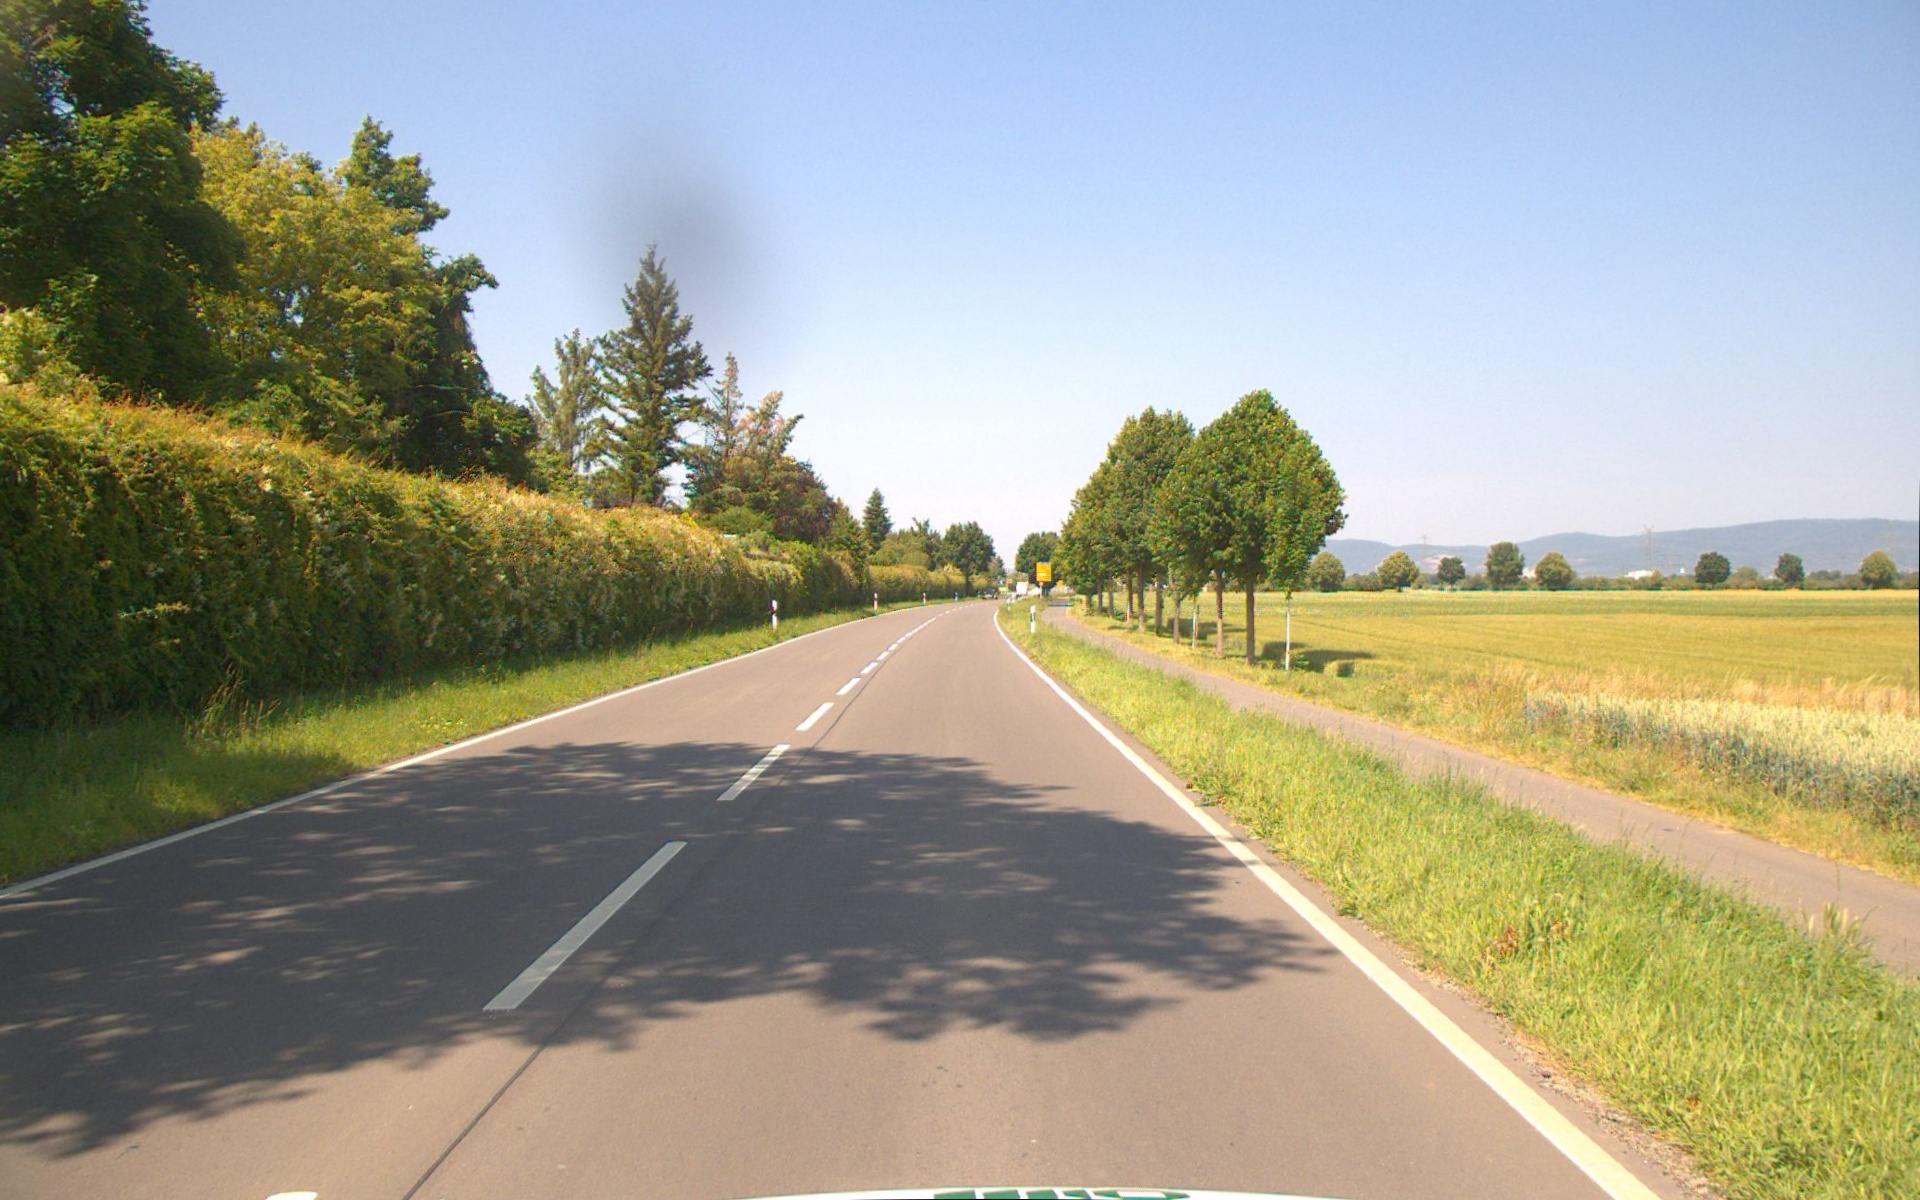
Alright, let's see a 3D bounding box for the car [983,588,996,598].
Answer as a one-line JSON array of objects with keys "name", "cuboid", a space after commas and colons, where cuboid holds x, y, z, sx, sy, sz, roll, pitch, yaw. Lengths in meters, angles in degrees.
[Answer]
[{"name": "car", "cuboid": [4.305, -0.996, 239.596, 1.802, 1.493, 3.933, 0, 1, 0]}]
